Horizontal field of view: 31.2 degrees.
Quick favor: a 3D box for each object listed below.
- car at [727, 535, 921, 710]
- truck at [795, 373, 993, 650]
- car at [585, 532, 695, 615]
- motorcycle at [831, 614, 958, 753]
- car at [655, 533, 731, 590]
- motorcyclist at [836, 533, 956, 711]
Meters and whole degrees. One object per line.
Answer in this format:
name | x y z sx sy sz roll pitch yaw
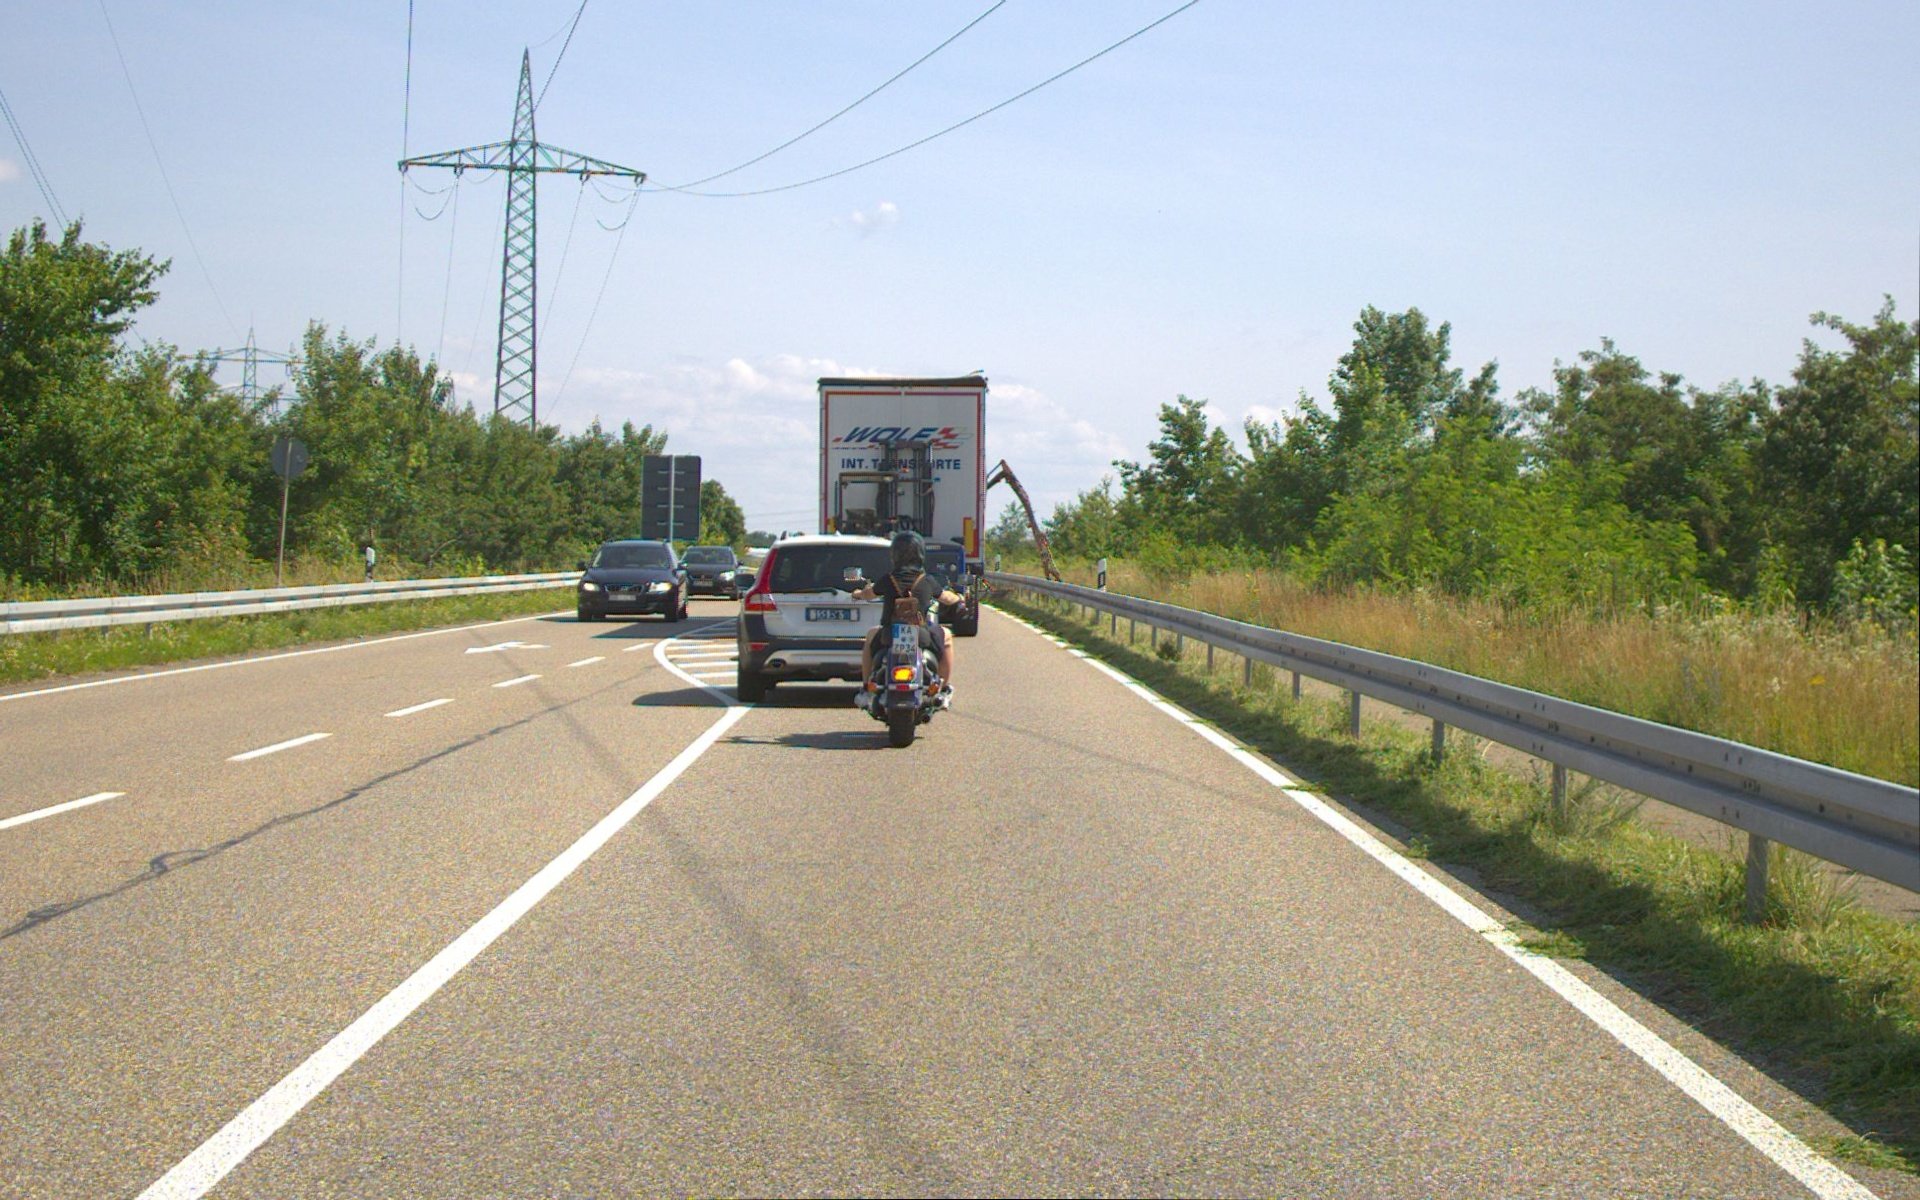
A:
car | -1.229 0.167 32.272 1.701 1.531 3.499 1 1 -1
truck | -0.981 -1.483 59.944 2.968 4.172 14.822 1 1 0
car | -5.994 -0.518 64.791 1.727 1.486 4.423 1 1 -1
motorcycle | -0.500 0.589 25.224 0.858 0.912 2.228 1 1 -3
car | -7.007 -1.027 90.491 1.659 1.437 4.214 1 1 0
motorcyclist | -0.478 0.153 25.291 0.837 1.276 0.919 1 1 -3
